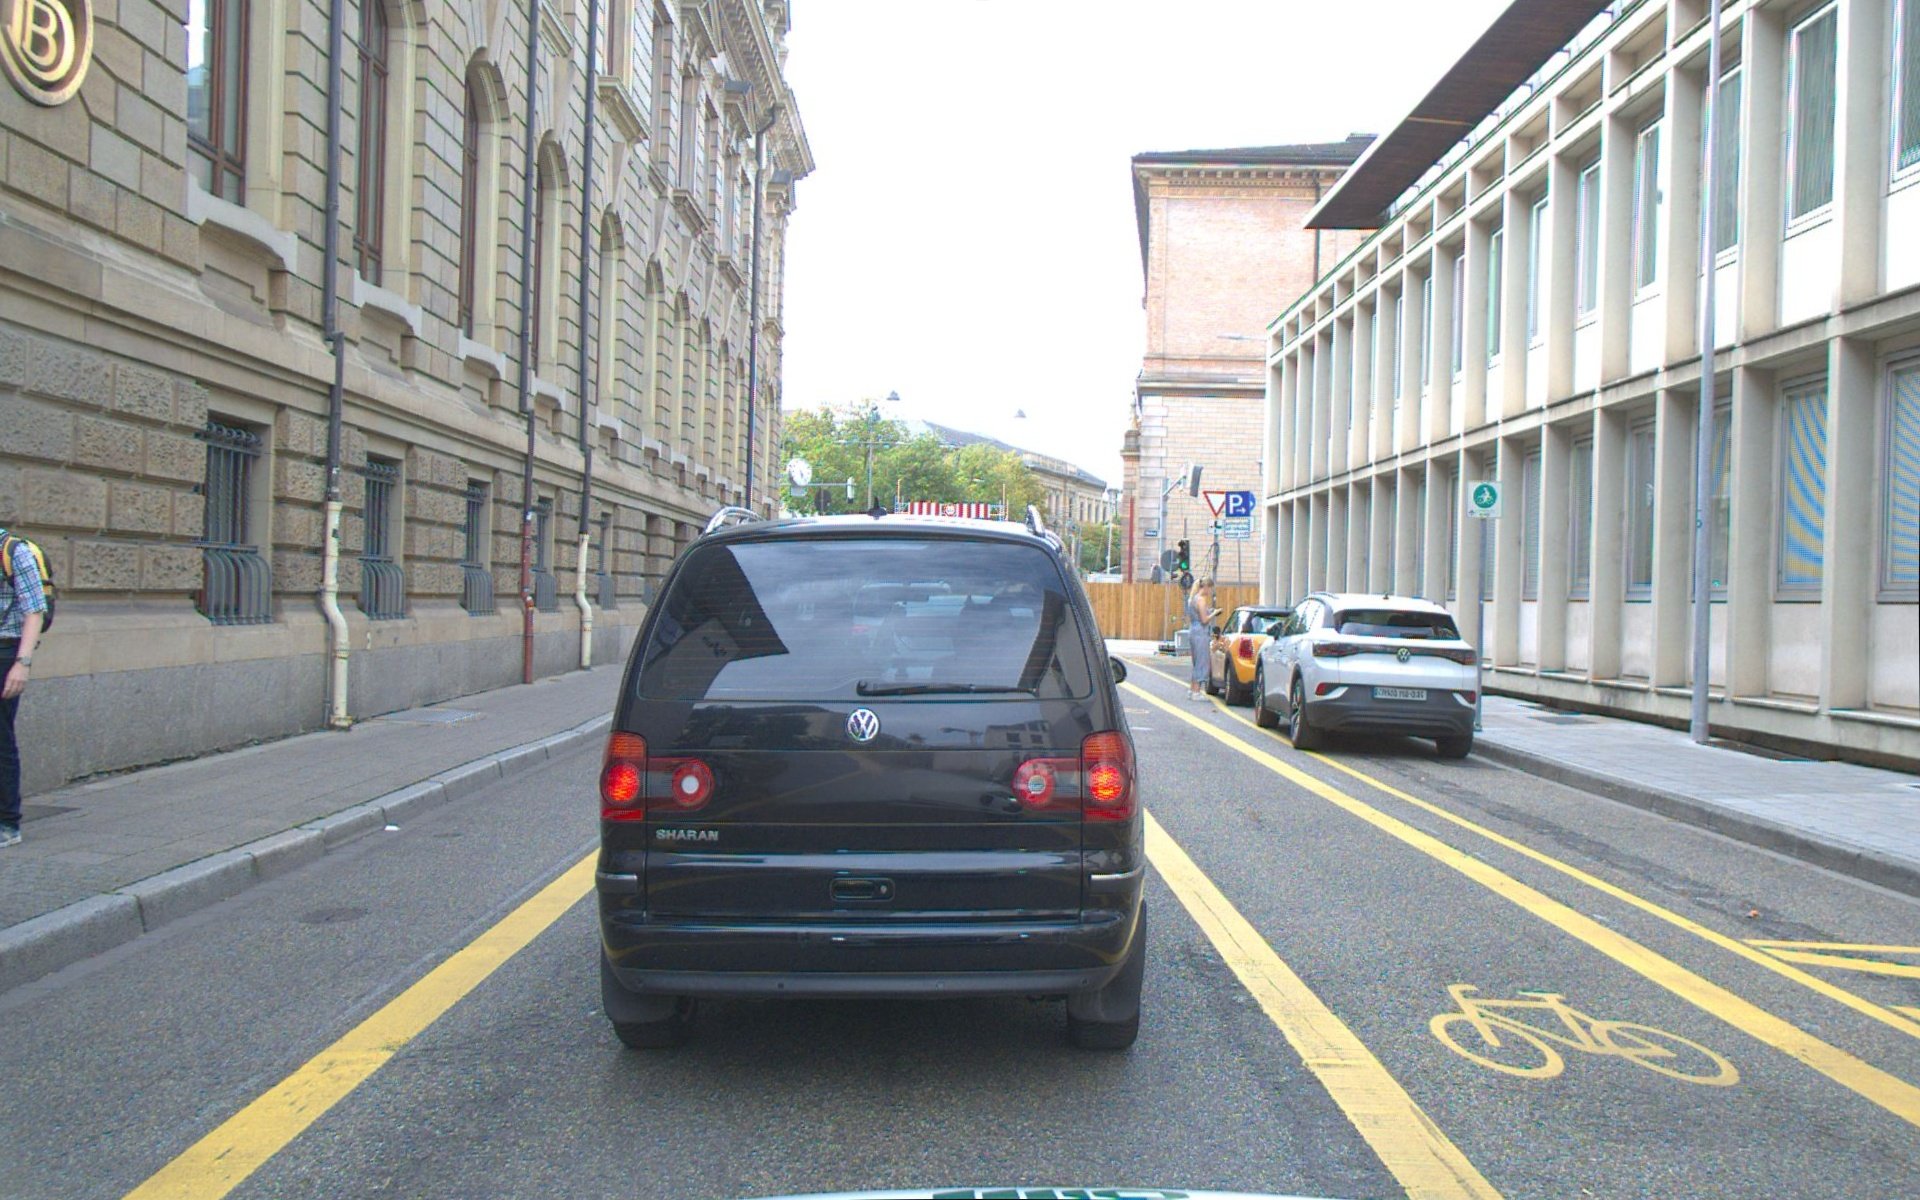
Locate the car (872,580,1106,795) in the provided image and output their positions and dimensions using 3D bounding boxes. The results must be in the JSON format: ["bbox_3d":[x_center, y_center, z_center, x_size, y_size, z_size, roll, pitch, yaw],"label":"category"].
[{"bbox_3d":[0.279,0.634,13.886,1.643,1.495,4.104,1,0,2],"label":"car"}]

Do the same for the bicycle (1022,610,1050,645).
[{"bbox_3d":[2.295,0.813,50.372,0.720,1.026,2.068,1,0,-1],"label":"bicycle"}]

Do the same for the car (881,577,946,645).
[{"bbox_3d":[-1.366,0.296,47.242,1.700,1.821,4.100,2,0,-4],"label":"car"}]

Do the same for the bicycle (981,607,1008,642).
[{"bbox_3d":[1.045,0.726,50.399,0.720,1.026,2.068,1,0,-1],"label":"bicycle"}]

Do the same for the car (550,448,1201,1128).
[{"bbox_3d":[-0.163,0.520,6.609,1.752,1.821,4.104,1,0,2],"label":"car"}]

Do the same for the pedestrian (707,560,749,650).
[{"bbox_3d":[-4.916,0.112,35.108,0.650,1.851,1.048,3,-1,-1],"label":"pedestrian"}]

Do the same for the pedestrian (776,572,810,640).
[{"bbox_3d":[-4.682,0.170,46.483,0.776,1.851,1.048,3,-1,-1],"label":"pedestrian"}]

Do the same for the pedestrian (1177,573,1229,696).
[{"bbox_3d":[3.624,0.509,24.721,0.683,1.794,0.706,1,-1,3],"label":"pedestrian"}]

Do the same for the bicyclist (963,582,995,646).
[{"bbox_3d":[0.451,0.332,39.600,0.720,1.504,0.884,1,0,-1],"label":"bicyclist"}]

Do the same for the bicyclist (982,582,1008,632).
[{"bbox_3d":[1.061,0.223,50.368,0.720,1.495,0.808,1,-1,-1],"label":"bicyclist"}]

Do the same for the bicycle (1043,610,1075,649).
[{"bbox_3d":[2.722,0.807,45.666,0.720,1.026,2.068,1,0,-1],"label":"bicycle"}]

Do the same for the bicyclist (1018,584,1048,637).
[{"bbox_3d":[1.940,0.282,44.046,0.720,1.401,0.828,1,0,-1],"label":"bicyclist"}]

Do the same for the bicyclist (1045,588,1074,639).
[{"bbox_3d":[2.732,0.373,45.653,0.720,1.399,0.831,1,0,-1],"label":"bicyclist"}]

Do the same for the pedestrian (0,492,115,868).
[{"bbox_3d":[-4.904,0.347,8.104,1.005,1.750,0.818,3,-1,-1],"label":"pedestrian"}]

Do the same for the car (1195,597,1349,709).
[{"bbox_3d":[4.662,0.750,25.200,1.645,1.459,3.887,4,0,2],"label":"car"}]

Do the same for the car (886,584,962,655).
[{"bbox_3d":[-0.868,0.449,40.245,1.737,1.613,3.999,1,0,-1],"label":"car"}]

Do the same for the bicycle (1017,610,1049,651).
[{"bbox_3d":[1.931,0.798,43.889,0.720,1.026,2.068,1,0,-1],"label":"bicycle"}]

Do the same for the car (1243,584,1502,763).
[{"bbox_3d":[4.453,0.734,18.575,1.822,1.633,4.513,4,0,2],"label":"car"}]
